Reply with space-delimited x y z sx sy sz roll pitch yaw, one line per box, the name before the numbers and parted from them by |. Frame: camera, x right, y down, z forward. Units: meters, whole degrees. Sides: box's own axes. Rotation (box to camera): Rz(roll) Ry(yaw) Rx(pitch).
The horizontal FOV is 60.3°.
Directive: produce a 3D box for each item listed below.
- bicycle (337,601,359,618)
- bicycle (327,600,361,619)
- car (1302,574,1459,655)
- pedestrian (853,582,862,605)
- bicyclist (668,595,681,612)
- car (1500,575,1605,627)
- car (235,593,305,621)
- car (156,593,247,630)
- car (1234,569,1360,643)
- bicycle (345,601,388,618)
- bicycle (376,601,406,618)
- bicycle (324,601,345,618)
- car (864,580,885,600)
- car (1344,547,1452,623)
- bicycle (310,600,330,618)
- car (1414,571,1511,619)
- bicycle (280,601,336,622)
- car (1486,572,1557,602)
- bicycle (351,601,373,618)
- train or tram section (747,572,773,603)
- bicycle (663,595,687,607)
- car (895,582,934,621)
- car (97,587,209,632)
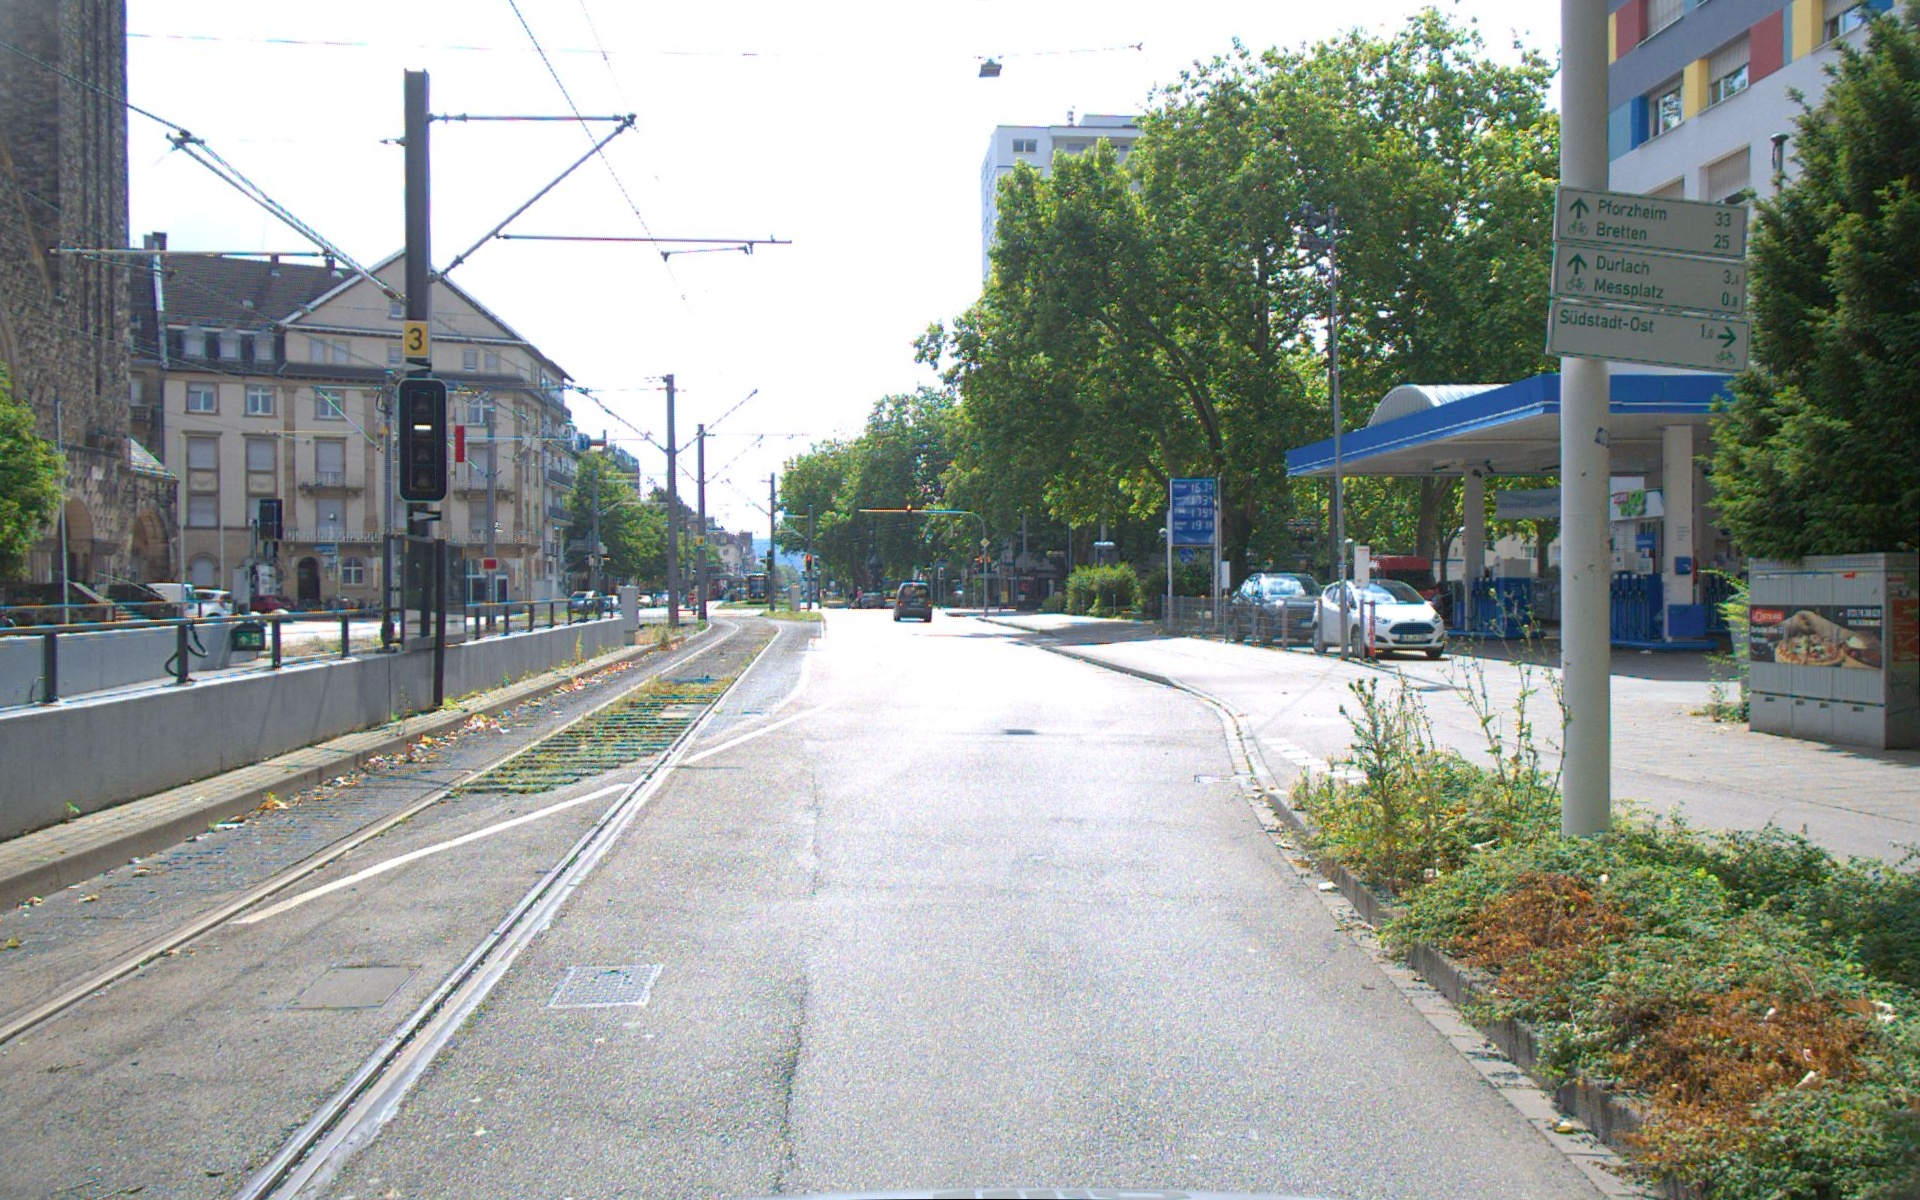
bicycle | -39.467 0.588 106.685 0.796 1.071 2.536 -1 0 -33
bicycle | -38.785 0.595 104.179 1.959 1.134 0.480 -1 0 -42
car | 8.145 0.241 32.406 1.770 1.481 3.997 0 0 -5
pedestrian | -8.008 -0.503 129.244 0.646 1.815 0.660 -1 0 -5
bicyclist | -26.368 0.283 152.831 0.763 1.538 0.999 -1 0 30
car | 21.481 0.019 60.177 1.966 1.785 4.649 1 0 -3
car | -43.086 0.443 103.270 3.910 1.703 1.997 -1 0 28
car | -33.361 0.504 72.836 3.202 1.528 1.852 -1 0 -6
car | 7.863 0.122 39.006 1.770 1.630 4.579 0 0 -4
bicycle | -37.901 0.602 105.673 2.533 1.071 0.675 -1 0 -33
bicycle | -37.166 0.596 108.060 0.786 1.071 2.568 -1 0 7
bicycle | -40.169 0.582 106.270 0.733 1.071 2.536 -1 0 -33
car | -7.977 -0.933 154.783 1.826 1.783 3.996 -1 0 -5
car | 15.910 -0.551 60.430 2.069 2.627 6.016 -1 0 -3
bicycle | -41.080 0.575 106.159 0.733 1.071 2.337 -1 0 -33
car | 18.448 -0.181 60.931 1.966 1.680 4.649 1 0 -3
bicycle | -41.180 0.708 104.508 3.239 1.275 1.000 -1 0 12
car | 39.931 -0.943 117.720 4.327 2.049 2.076 -1 0 -4
bicycle | -38.760 0.592 107.157 0.796 1.071 2.536 -1 0 -33
train or tram section | -22.694 -1.369 187.958 2.196 3.389 12.960 -1 0 -4
bicycle | -26.347 0.067 152.978 0.877 1.066 2.305 -1 1 29
car | -2.208 0.063 80.019 1.716 1.840 3.472 1 0 -4
car | -33.860 0.379 69.503 3.797 1.779 1.892 -1 0 -8
